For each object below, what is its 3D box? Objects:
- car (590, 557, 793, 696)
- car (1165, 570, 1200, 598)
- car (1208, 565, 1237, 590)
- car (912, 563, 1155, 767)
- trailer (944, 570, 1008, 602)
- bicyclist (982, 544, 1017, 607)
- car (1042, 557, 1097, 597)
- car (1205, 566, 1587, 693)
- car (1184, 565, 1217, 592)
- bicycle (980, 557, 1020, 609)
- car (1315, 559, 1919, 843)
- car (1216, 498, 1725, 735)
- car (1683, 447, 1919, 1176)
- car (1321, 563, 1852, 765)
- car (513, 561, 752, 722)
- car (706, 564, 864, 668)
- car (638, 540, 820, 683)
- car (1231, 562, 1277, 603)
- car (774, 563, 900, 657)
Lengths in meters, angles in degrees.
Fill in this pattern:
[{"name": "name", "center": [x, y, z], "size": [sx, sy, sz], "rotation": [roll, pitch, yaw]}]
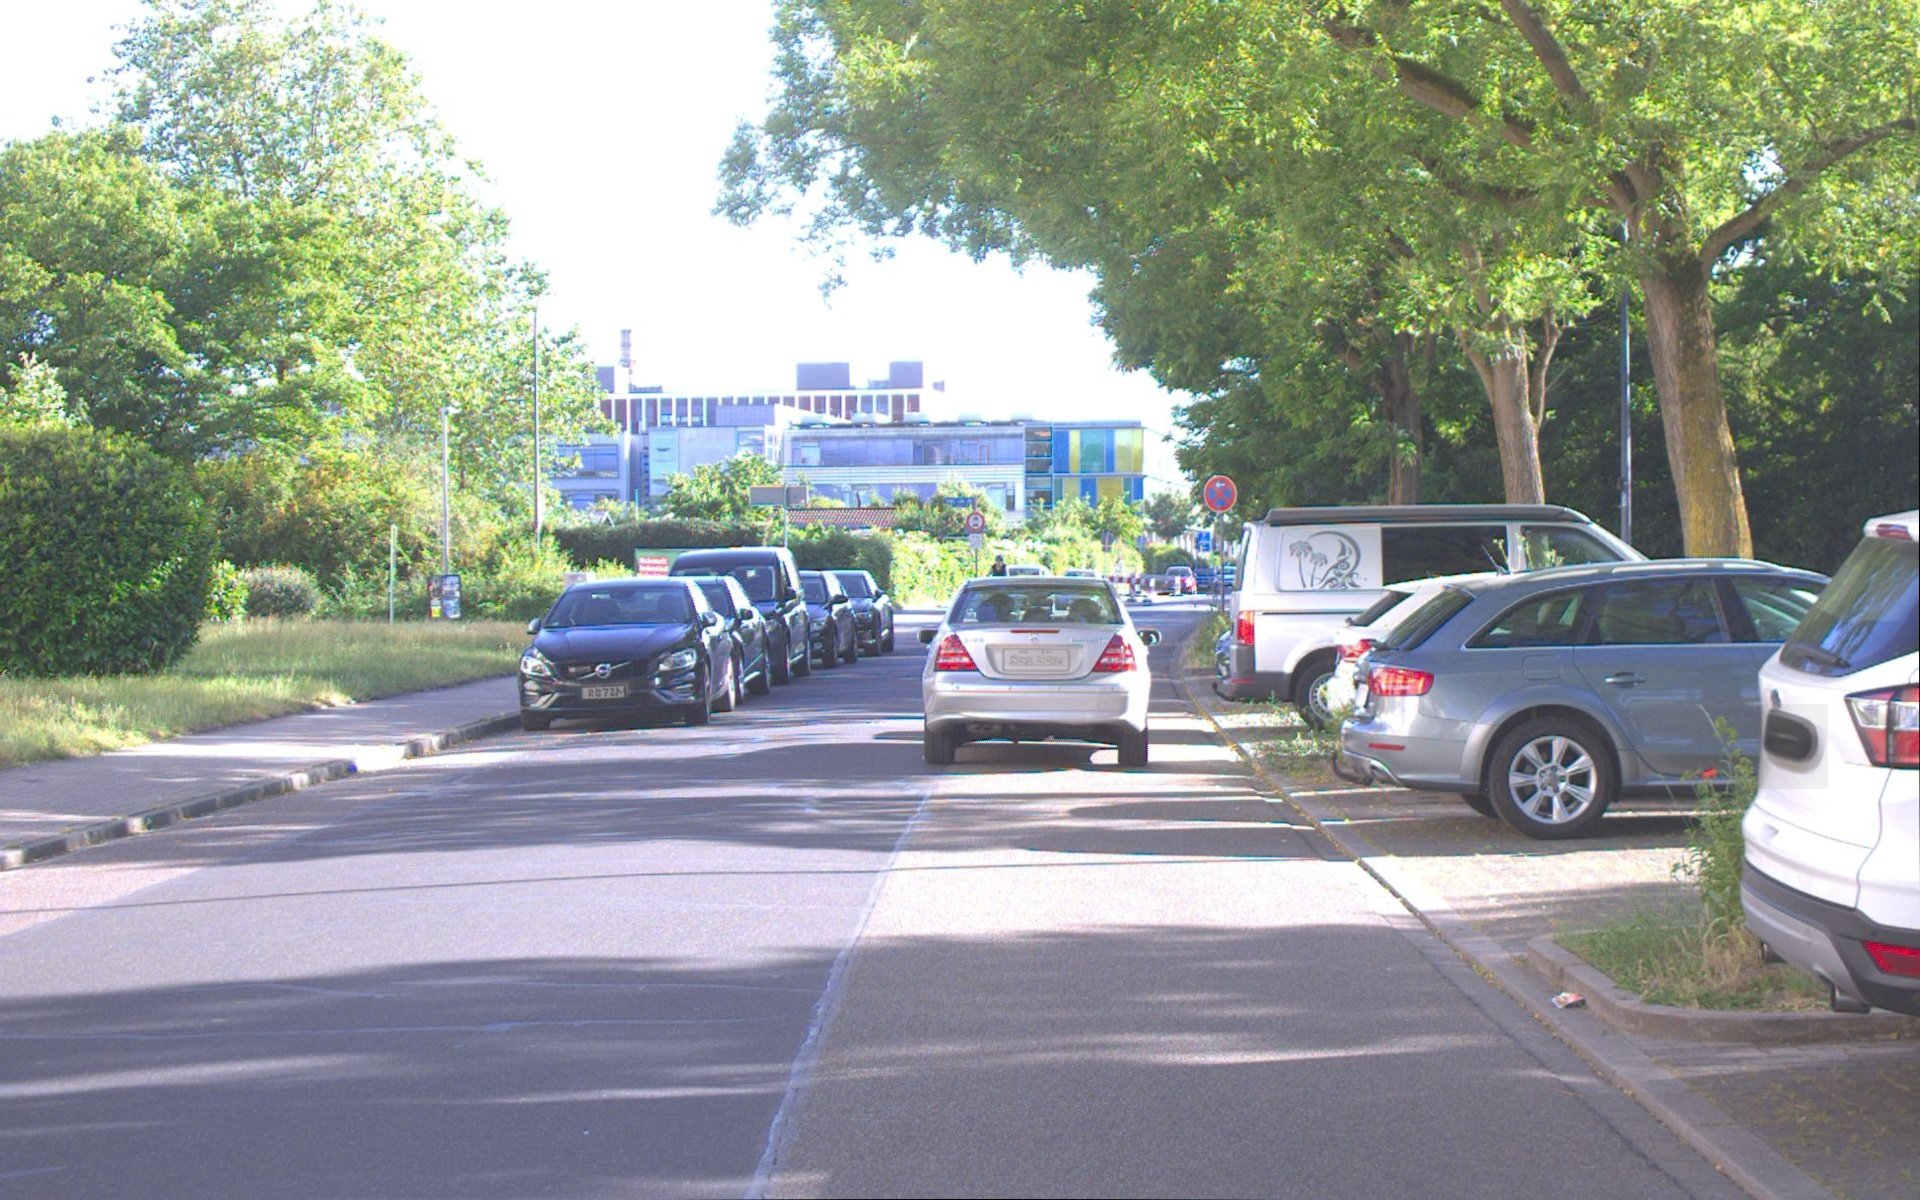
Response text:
[{"name": "car", "center": [-3.153, 0.278, 41.221], "size": [1.840, 1.476, 4.574], "rotation": [-3, 0, 2]}, {"name": "car", "center": [11.764, -0.851, 181.814], "size": [1.560, 1.489, 3.569], "rotation": [-1, 0, 8]}, {"name": "car", "center": [16.531, -1.417, 216.731], "size": [1.560, 1.489, 3.757], "rotation": [-1, 0, 8]}, {"name": "car", "center": [0.510, 0.450, 26.821], "size": [1.737, 1.448, 4.000], "rotation": [1, 1, -1]}, {"name": "trailer", "center": [0.518, -0.438, 107.920], "size": [1.545, 0.950, 2.646], "rotation": [1, 0, 11]}, {"name": "bicyclist", "center": [1.049, -0.646, 91.458], "size": [0.845, 1.652, 1.064], "rotation": [0, 0, 4]}, {"name": "car", "center": [4.326, -0.908, 135.514], "size": [1.644, 1.551, 4.416], "rotation": [-1, 0, 8]}, {"name": "car", "center": [5.249, 0.347, 41.805], "size": [4.451, 1.409, 1.775], "rotation": [-1, 1, 3]}, {"name": "car", "center": [13.993, -1.229, 199.882], "size": [1.560, 1.489, 3.569], "rotation": [2, 1, 8]}, {"name": "bicycle", "center": [1.071, -0.452, 91.704], "size": [0.851, 1.366, 3.220], "rotation": [0, 0, 4]}, {"name": "car", "center": [4.331, 0.526, 19.322], "size": [4.479, 1.466, 1.745], "rotation": [-1, 1, 1]}, {"name": "car", "center": [4.637, 0.139, 31.784], "size": [4.452, 2.009, 2.021], "rotation": [-2, 1, 4]}, {"name": "car", "center": [4.127, 0.484, 9.137], "size": [4.041, 1.758, 1.745], "rotation": [-1, 1, 1]}, {"name": "car", "center": [4.773, 0.478, 26.620], "size": [3.908, 1.430, 1.636], "rotation": [-1, 1, 6]}, {"name": "car", "center": [-3.237, 0.368, 34.814], "size": [1.840, 1.476, 4.800], "rotation": [-1, 1, 1]}, {"name": "car", "center": [-2.660, 0.217, 53.030], "size": [1.840, 1.449, 4.018], "rotation": [-2, 1, 5]}, {"name": "car", "center": [-3.073, 0.128, 46.613], "size": [1.840, 1.774, 4.888], "rotation": [-2, 0, 3]}, {"name": "car", "center": [11.516, -0.705, 134.552], "size": [1.556, 1.533, 3.554], "rotation": [2, 1, 8]}, {"name": "car", "center": [-2.087, 0.140, 59.353], "size": [1.728, 1.458, 4.682], "rotation": [-1, 1, 3]}]
